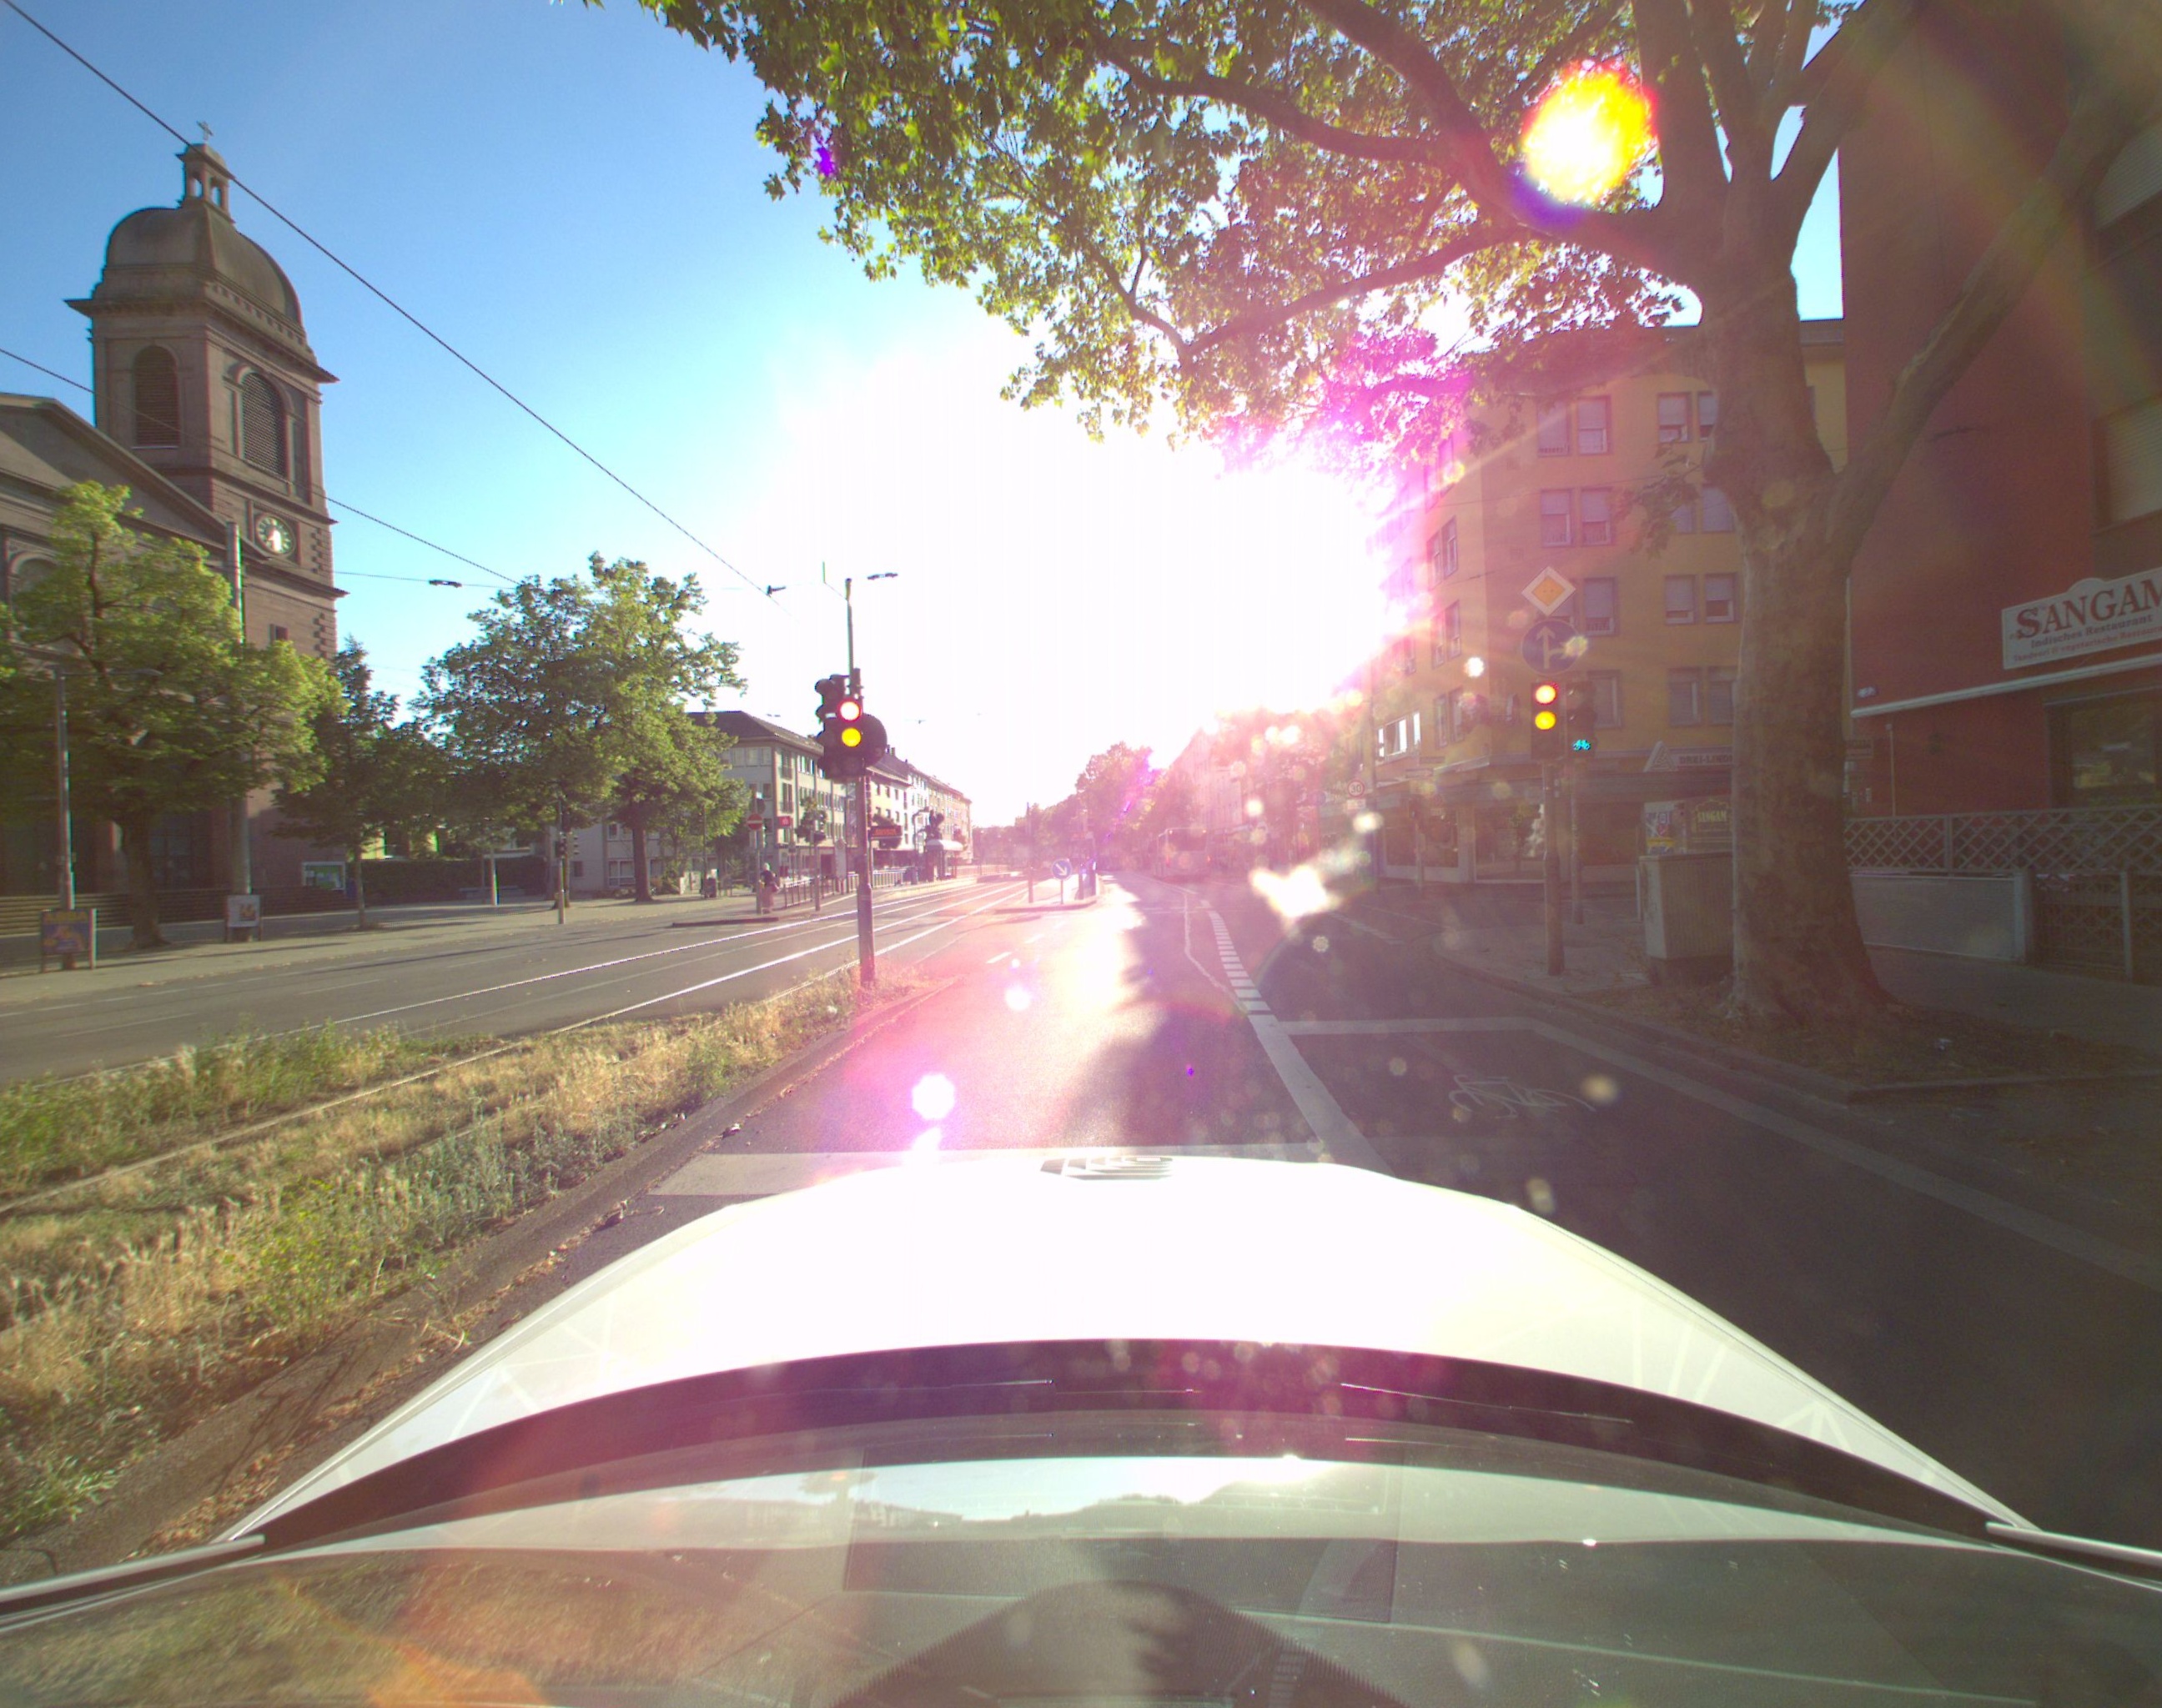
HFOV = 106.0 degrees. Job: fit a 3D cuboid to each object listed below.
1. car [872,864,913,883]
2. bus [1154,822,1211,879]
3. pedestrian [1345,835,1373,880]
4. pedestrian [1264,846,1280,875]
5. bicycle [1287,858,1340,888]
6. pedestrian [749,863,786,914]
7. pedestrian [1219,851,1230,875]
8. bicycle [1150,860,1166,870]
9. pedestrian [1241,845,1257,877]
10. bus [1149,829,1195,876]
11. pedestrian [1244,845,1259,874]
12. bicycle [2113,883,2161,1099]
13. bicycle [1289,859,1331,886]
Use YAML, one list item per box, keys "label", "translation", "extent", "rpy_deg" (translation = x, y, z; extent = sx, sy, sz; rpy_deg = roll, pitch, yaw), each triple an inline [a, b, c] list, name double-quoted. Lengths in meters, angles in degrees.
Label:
- label: "car"
  translation: [-18.114, 1.848, 78.351]
  extent: [1.748, 1.679, 3.533]
  rpy_deg: [-2, 0, 36]
- label: "bus"
  translation: [6.105, -0.154, 50.242]
  extent: [2.686, 3.118, 9.386]
  rpy_deg: [-1, 0, 2]
- label: "pedestrian"
  translation: [11.391, 0.142, 33.425]
  extent: [0.741, 1.780, 0.895]
  rpy_deg: [-4, -1, 1]
- label: "pedestrian"
  translation: [11.566, 0.375, 49.413]
  extent: [0.721, 1.723, 0.766]
  rpy_deg: [-2, -1, 1]
- label: "bicycle"
  translation: [8.879, 0.708, 31.122]
  extent: [1.793, 1.008, 0.540]
  rpy_deg: [-4, -1, -3]
- label: "pedestrian"
  translation: [-11.068, 1.201, 28.790]
  extent: [0.915, 1.760, 0.833]
  rpy_deg: [-2, -1, 2]
- label: "pedestrian"
  translation: [9.503, 0.579, 53.915]
  extent: [0.607, 1.578, 0.852]
  rpy_deg: [-2, 0, 5]
- label: "bicycle"
  translation: [9.542, 1.375, 100.896]
  extent: [1.878, 1.077, 0.755]
  rpy_deg: [-6, -1, 4]
- label: "pedestrian"
  translation: [9.814, 0.397, 47.686]
  extent: [0.721, 1.807, 0.766]
  rpy_deg: [-2, -1, 1]
- label: "bus"
  translation: [6.498, -0.098, 59.424]
  extent: [2.686, 3.118, 9.075]
  rpy_deg: [-1, 0, 2]
- label: "pedestrian"
  translation: [10.748, 0.373, 51.305]
  extent: [0.721, 1.779, 0.766]
  rpy_deg: [-2, -1, 1]
- label: "bicycle"
  translation: [5.667, 0.754, 3.634]
  extent: [0.613, 1.111, 1.812]
  rpy_deg: [-3, 1, 28]
- label: "bicycle"
  translation: [8.943, 0.725, 31.800]
  extent: [1.479, 1.008, 0.454]
  rpy_deg: [-2, 0, -2]
